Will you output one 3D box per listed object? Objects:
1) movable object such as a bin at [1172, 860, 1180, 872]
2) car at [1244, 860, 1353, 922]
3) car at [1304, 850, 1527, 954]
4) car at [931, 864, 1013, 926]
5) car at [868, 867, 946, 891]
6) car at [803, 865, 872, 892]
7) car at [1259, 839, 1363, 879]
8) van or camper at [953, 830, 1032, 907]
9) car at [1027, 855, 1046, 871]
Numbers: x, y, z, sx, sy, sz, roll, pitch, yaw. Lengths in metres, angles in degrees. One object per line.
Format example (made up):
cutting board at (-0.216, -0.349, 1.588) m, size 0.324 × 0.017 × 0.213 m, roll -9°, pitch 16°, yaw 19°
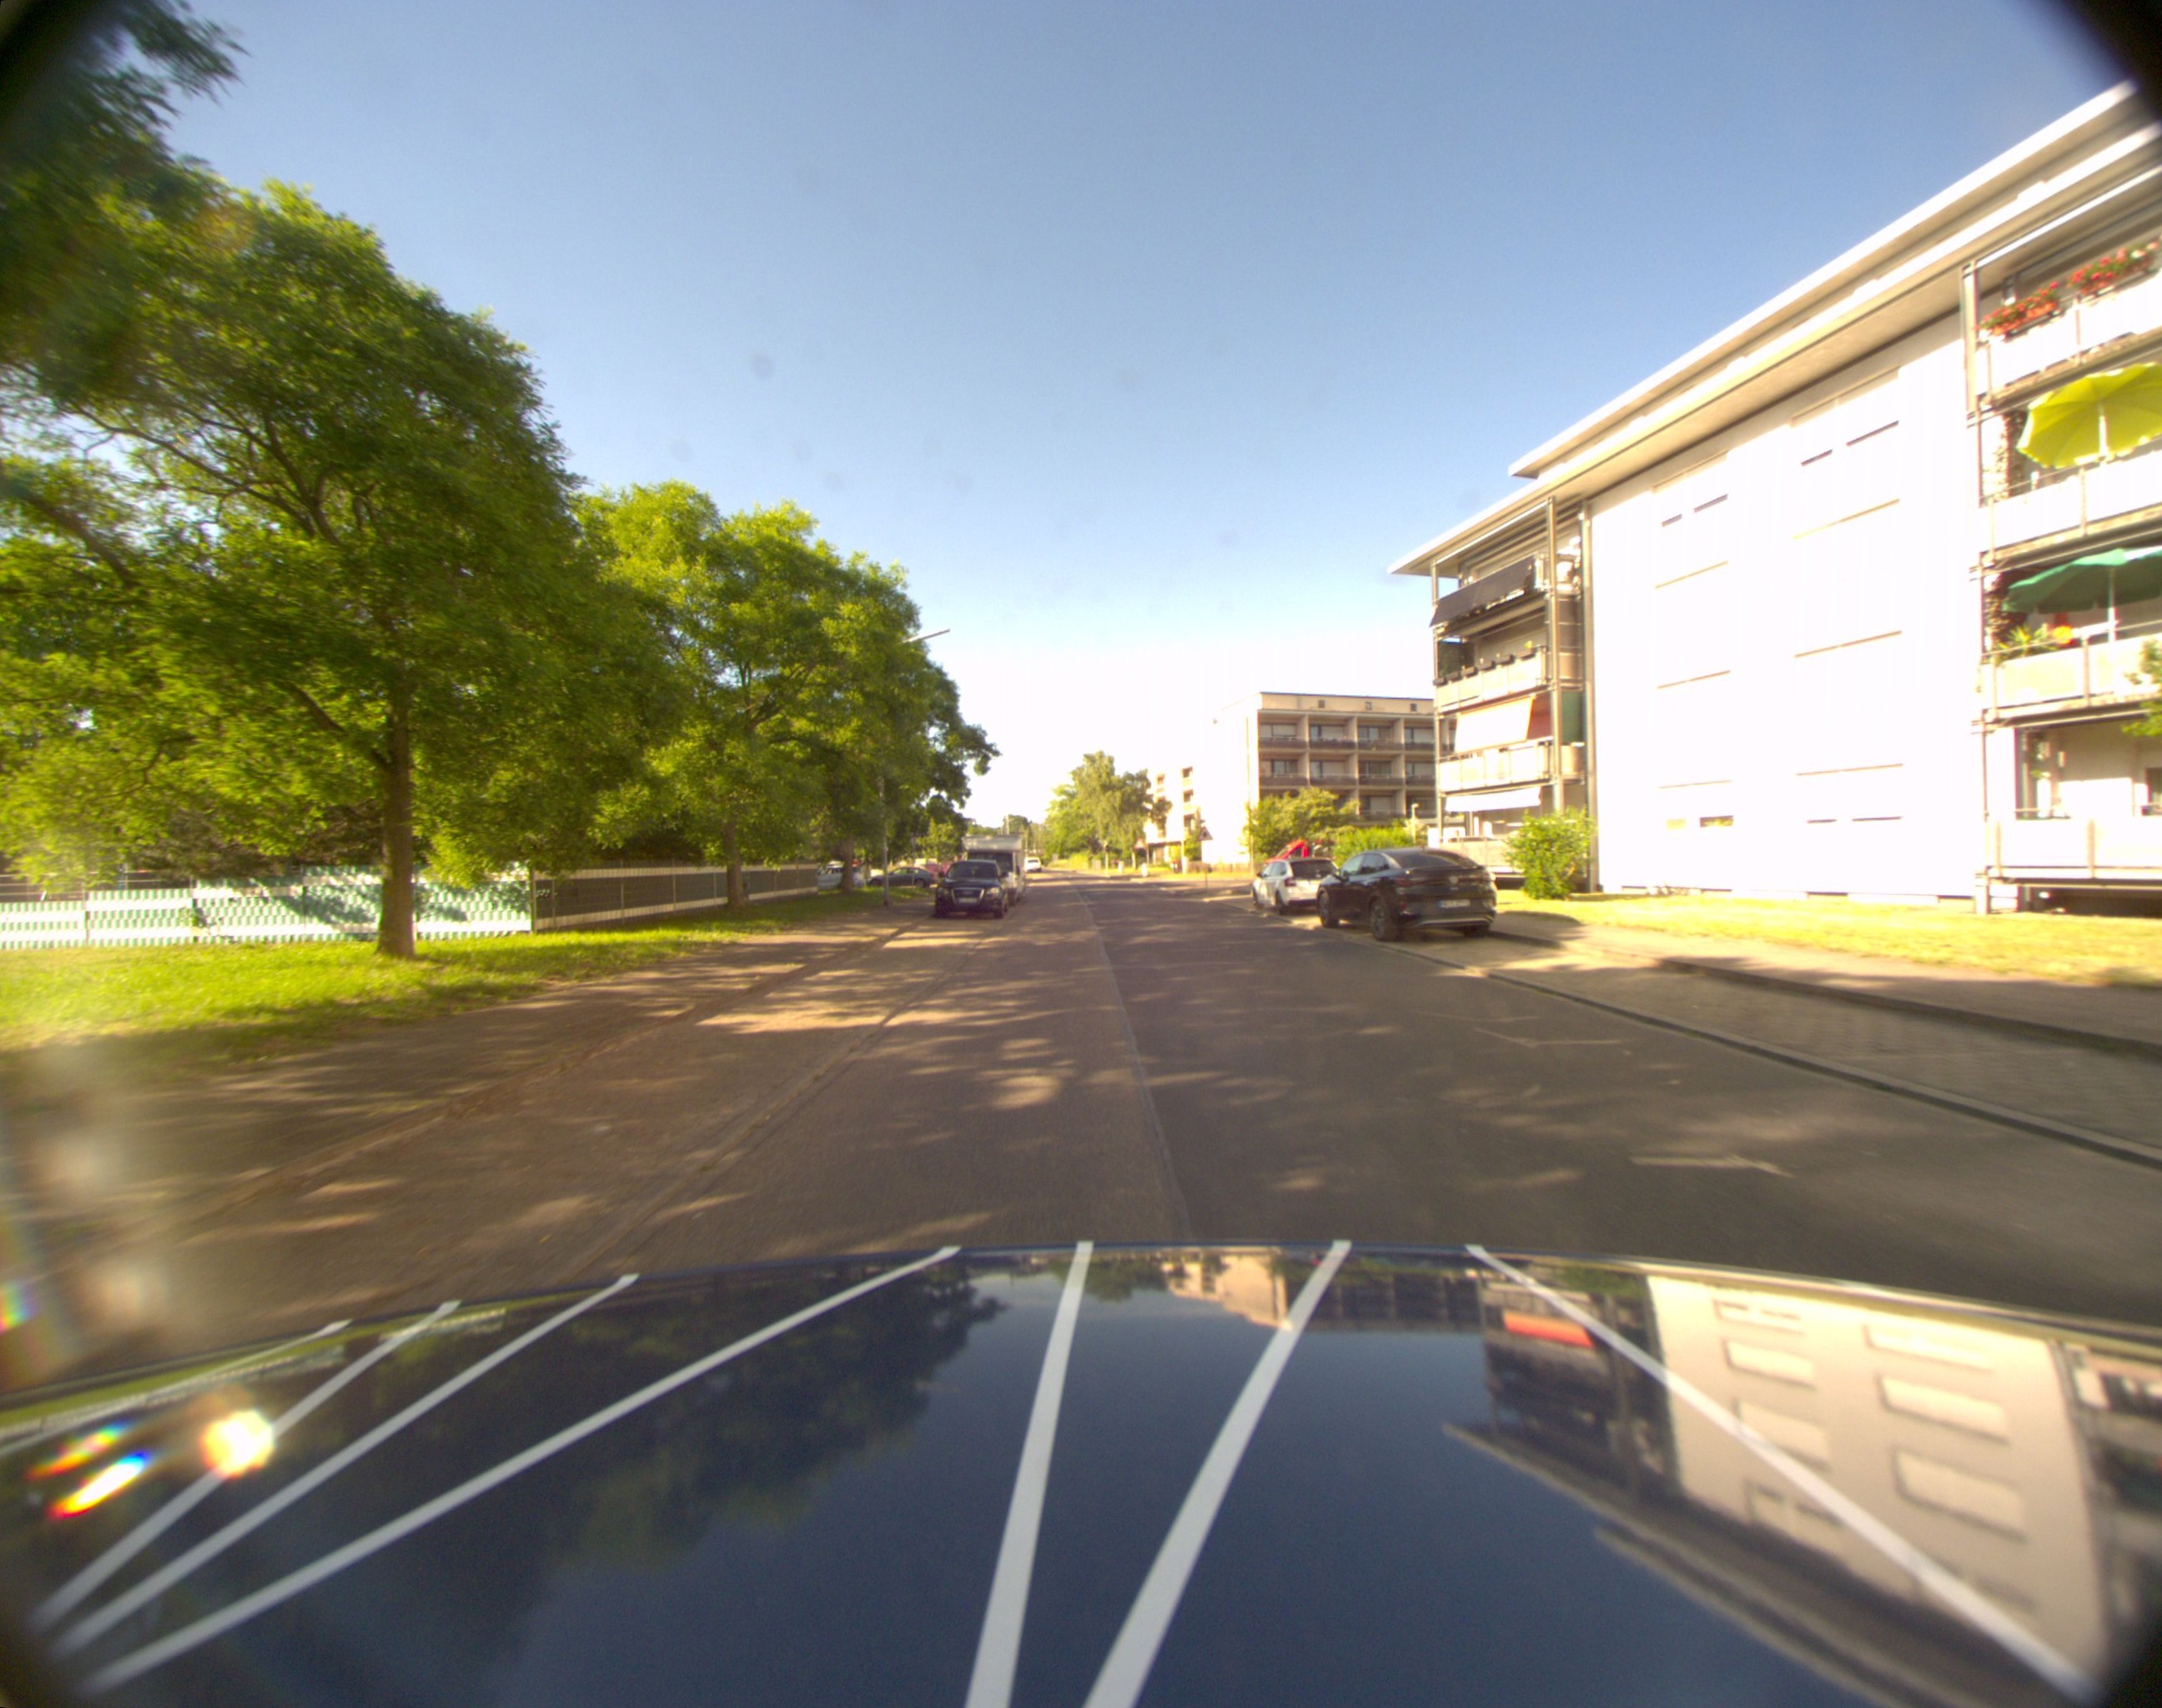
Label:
movable object such as a bin at (8.803, 1.110, 70.350) m, size 0.565 × 1.047 × 0.556 m, roll -1°, pitch 1°, yaw -26°
car at (5.768, 0.915, 20.676) m, size 1.651 × 1.458 × 4.330 m, roll -2°, pitch 0°, yaw 0°
car at (5.918, 0.743, 14.234) m, size 1.919 × 1.594 × 4.811 m, roll -1°, pitch 0°, yaw -2°
car at (-3.124, 1.128, 22.612) m, size 1.999 × 1.631 × 4.535 m, roll 0°, pitch 0°, yaw -3°
car at (-10.847, 1.555, 47.546) m, size 4.436 × 1.329 × 1.746 m, roll -2°, pitch -2°, yaw 1°
car at (-15.257, 1.527, 47.787) m, size 3.692 × 1.568 × 1.829 m, roll -1°, pitch 0°, yaw 4°
car at (14.514, 0.352, 48.188) m, size 5.921 × 2.414 × 2.213 m, roll -1°, pitch -1°, yaw -4°
van or camper at (-3.258, 0.532, 29.401) m, size 2.358 × 2.581 × 6.425 m, roll 2°, pitch 0°, yaw -1°
car at (-5.538, 1.116, 94.418) m, size 1.921 × 1.860 × 4.862 m, roll -3°, pitch 0°, yaw -7°
